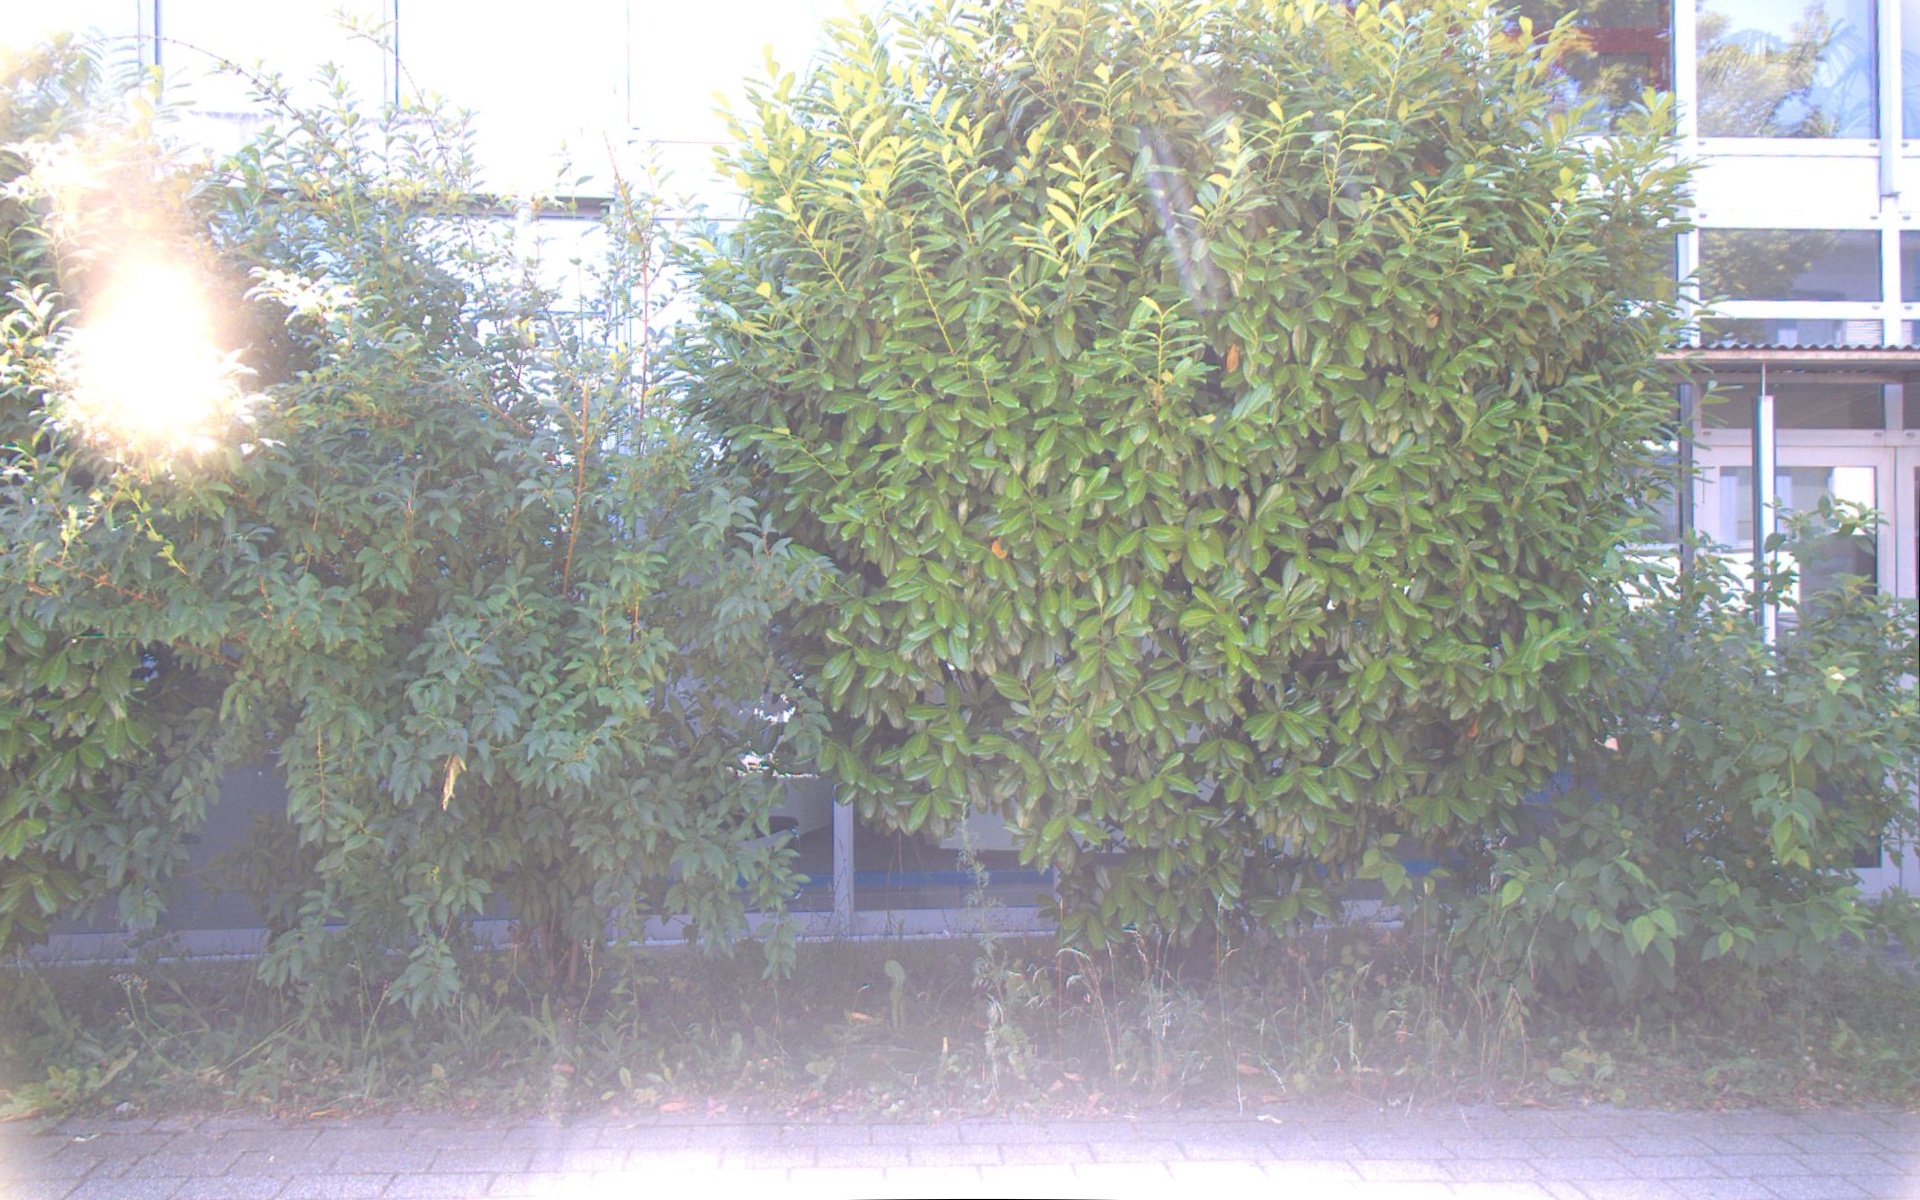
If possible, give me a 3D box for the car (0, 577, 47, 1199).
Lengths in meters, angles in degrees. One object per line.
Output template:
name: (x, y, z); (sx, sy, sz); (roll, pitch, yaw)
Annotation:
car: (-2.195, 0.704, 0.637); (1.686, 1.505, 4.342); (1, 0, -7)
